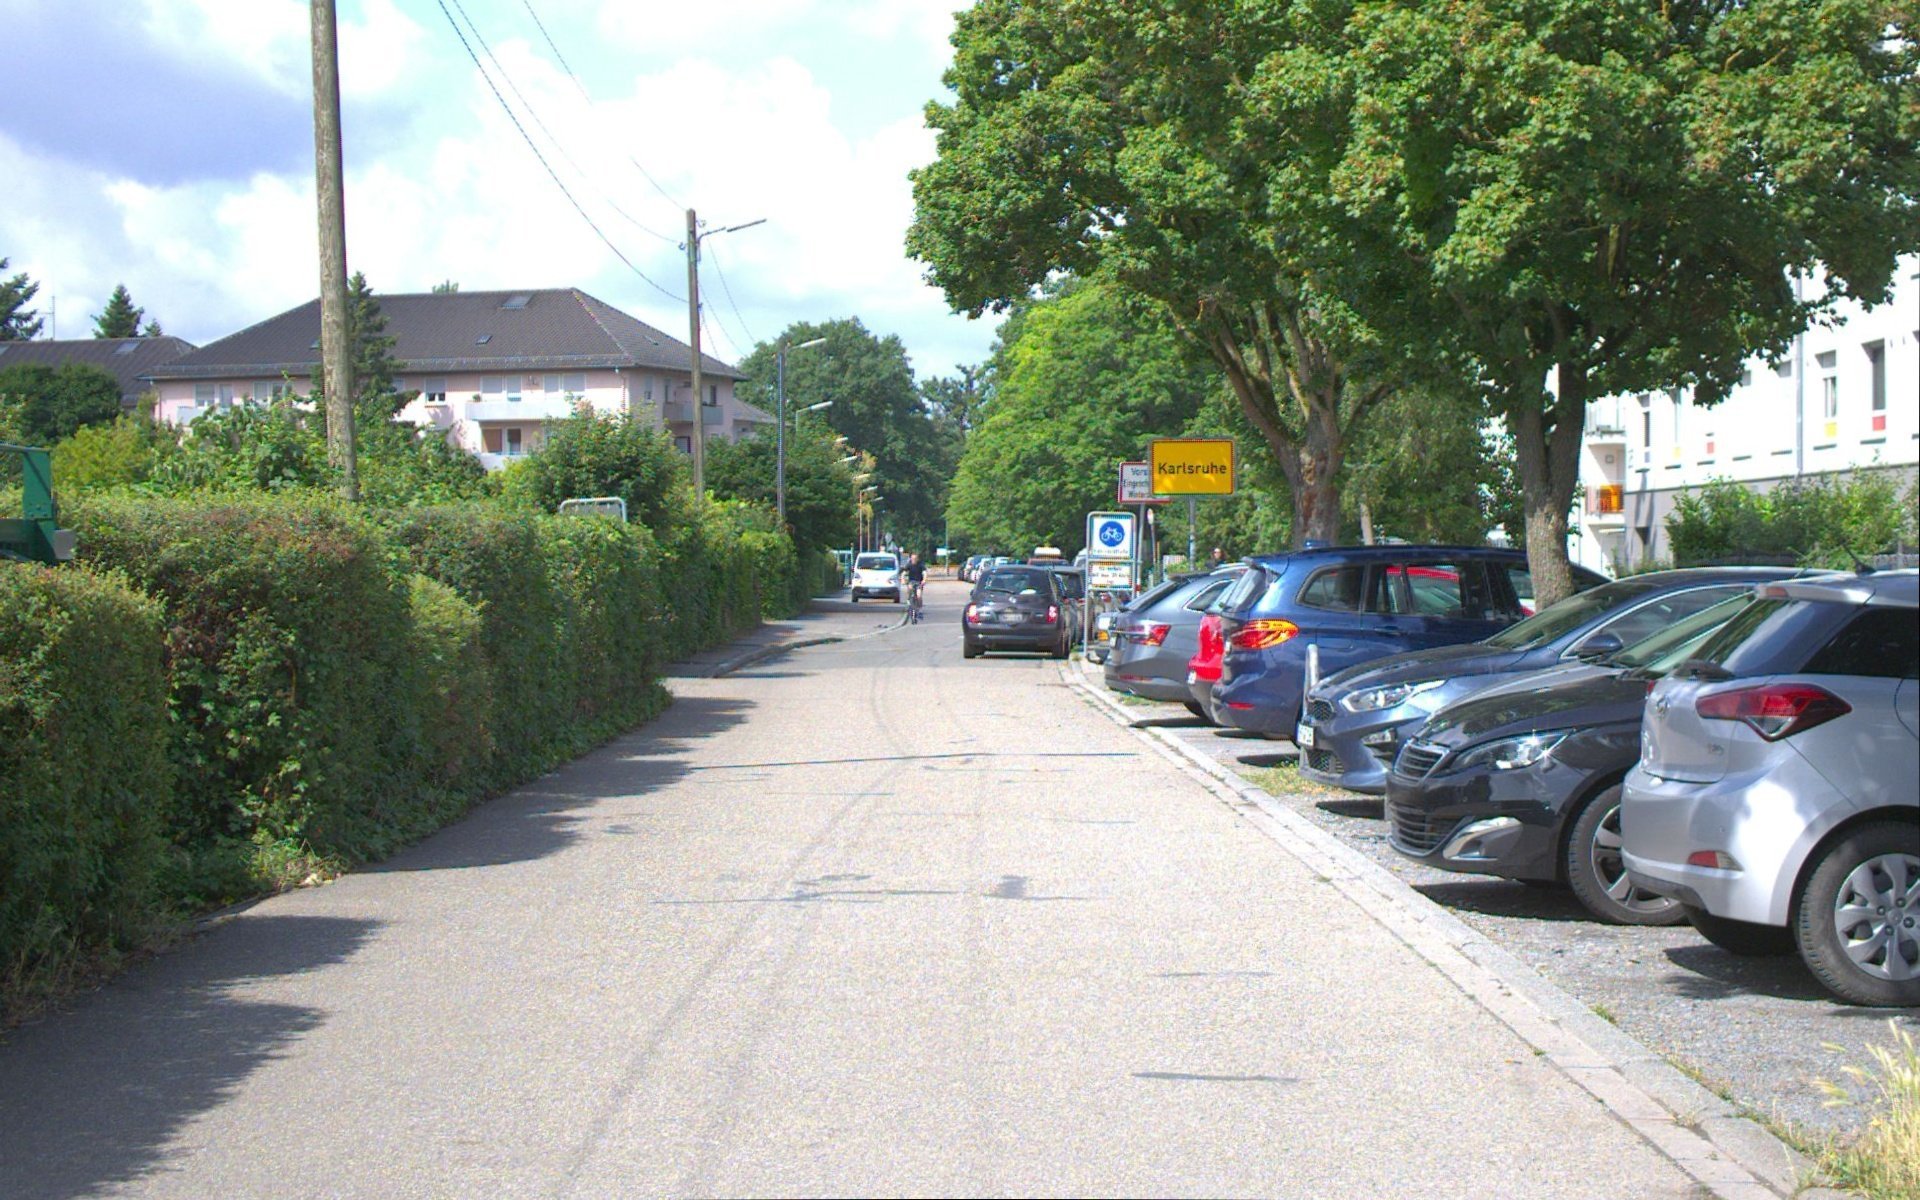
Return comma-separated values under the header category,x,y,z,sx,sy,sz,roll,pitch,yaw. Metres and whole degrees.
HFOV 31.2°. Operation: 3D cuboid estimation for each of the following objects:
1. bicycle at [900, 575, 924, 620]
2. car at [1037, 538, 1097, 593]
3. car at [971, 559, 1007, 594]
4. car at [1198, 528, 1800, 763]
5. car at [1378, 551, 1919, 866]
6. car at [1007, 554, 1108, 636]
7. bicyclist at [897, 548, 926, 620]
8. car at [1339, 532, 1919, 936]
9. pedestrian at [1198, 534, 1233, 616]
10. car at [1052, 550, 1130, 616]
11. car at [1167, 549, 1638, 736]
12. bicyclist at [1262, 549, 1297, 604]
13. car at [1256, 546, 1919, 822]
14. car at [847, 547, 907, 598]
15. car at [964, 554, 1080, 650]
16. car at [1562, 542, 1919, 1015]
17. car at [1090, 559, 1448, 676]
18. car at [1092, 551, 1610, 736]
category,x,y,z,sx,sy,sz,roll,pitch,yaw
bicycle,-1.260,-0.079,90.210,0.518,1.146,1.827,-1,1,2
car,3.853,-1.241,123.419,2.058,1.919,4.540,1,1,2
car,1.737,-1.414,204.708,1.993,2.007,4.000,1,1,-1
car,3.895,0.318,25.371,4.154,1.632,1.879,-1,0,1
car,4.205,0.537,17.712,3.812,1.487,1.902,1,0,-1
car,1.949,-0.113,67.861,1.664,1.547,3.636,1,1,7
bicyclist,-1.261,-0.425,90.139,0.659,1.846,1.043,-1,1,2
car,3.932,0.555,14.887,4.302,1.588,2.000,1,0,-1
pedestrian,5.510,-0.540,74.007,0.610,1.739,0.721,1,0,13
car,2.976,-0.399,78.804,1.663,1.430,3.542,1,1,1
car,3.755,0.351,29.624,3.809,1.527,1.762,-1,0,0
bicyclist,10.479,-0.774,112.799,0.786,1.779,0.892,1,0,32
car,4.035,0.473,20.392,4.335,1.487,1.976,1,0,-1
car,-3.016,-1.010,125.287,1.903,1.808,4.000,1,1,2
car,1.061,0.013,56.759,1.663,1.501,3.999,1,1,4
car,4.219,0.606,12.244,3.723,1.534,1.850,1,0,-3
car,3.837,0.212,43.051,4.359,1.387,1.718,-1,0,4
car,3.578,0.386,32.034,4.548,1.573,1.809,1,0,-2
